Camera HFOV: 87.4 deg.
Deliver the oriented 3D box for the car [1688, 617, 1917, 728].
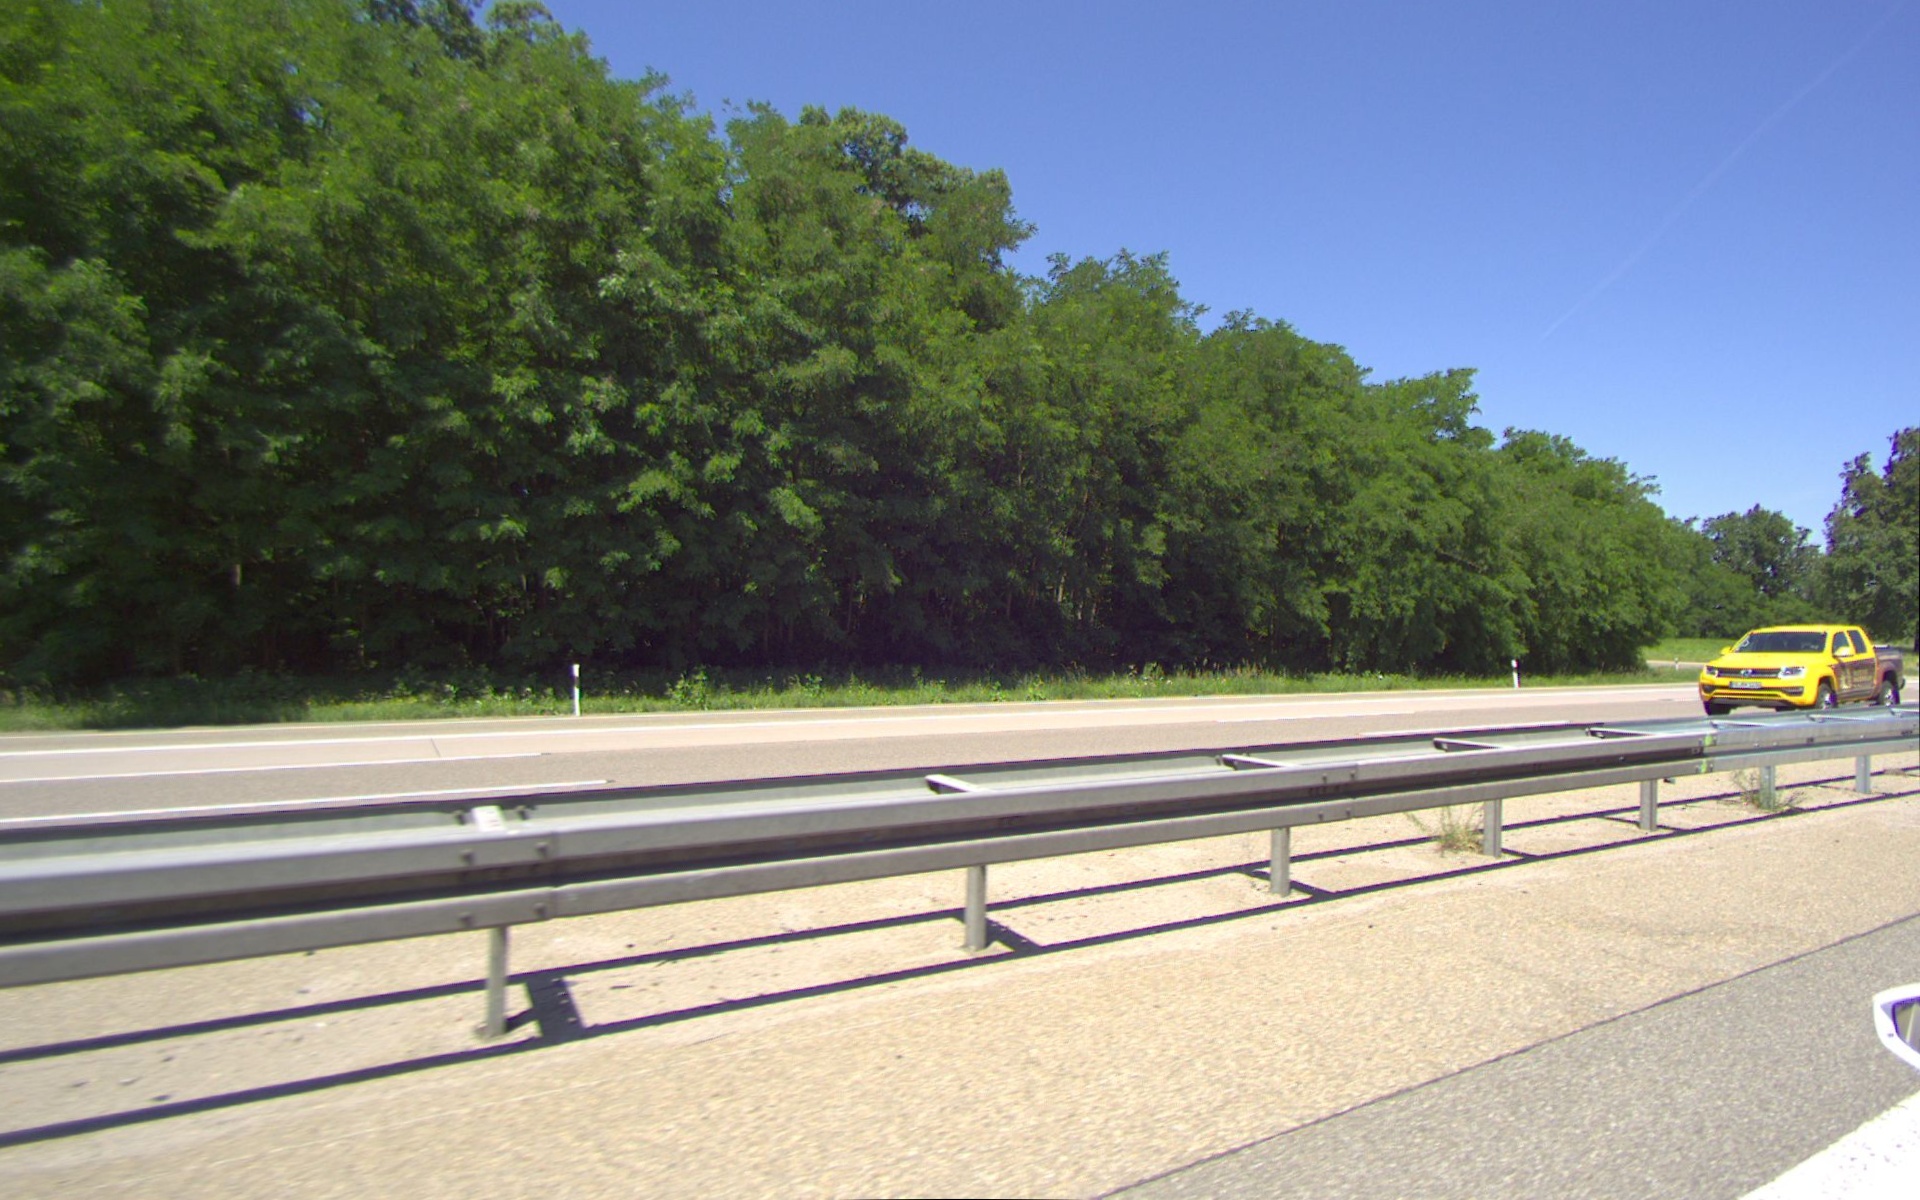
[{"bbox_3d":[17.338,1.412,20.607,5.150,1.990,1.984,2,0,-31],"label":"car"}]
